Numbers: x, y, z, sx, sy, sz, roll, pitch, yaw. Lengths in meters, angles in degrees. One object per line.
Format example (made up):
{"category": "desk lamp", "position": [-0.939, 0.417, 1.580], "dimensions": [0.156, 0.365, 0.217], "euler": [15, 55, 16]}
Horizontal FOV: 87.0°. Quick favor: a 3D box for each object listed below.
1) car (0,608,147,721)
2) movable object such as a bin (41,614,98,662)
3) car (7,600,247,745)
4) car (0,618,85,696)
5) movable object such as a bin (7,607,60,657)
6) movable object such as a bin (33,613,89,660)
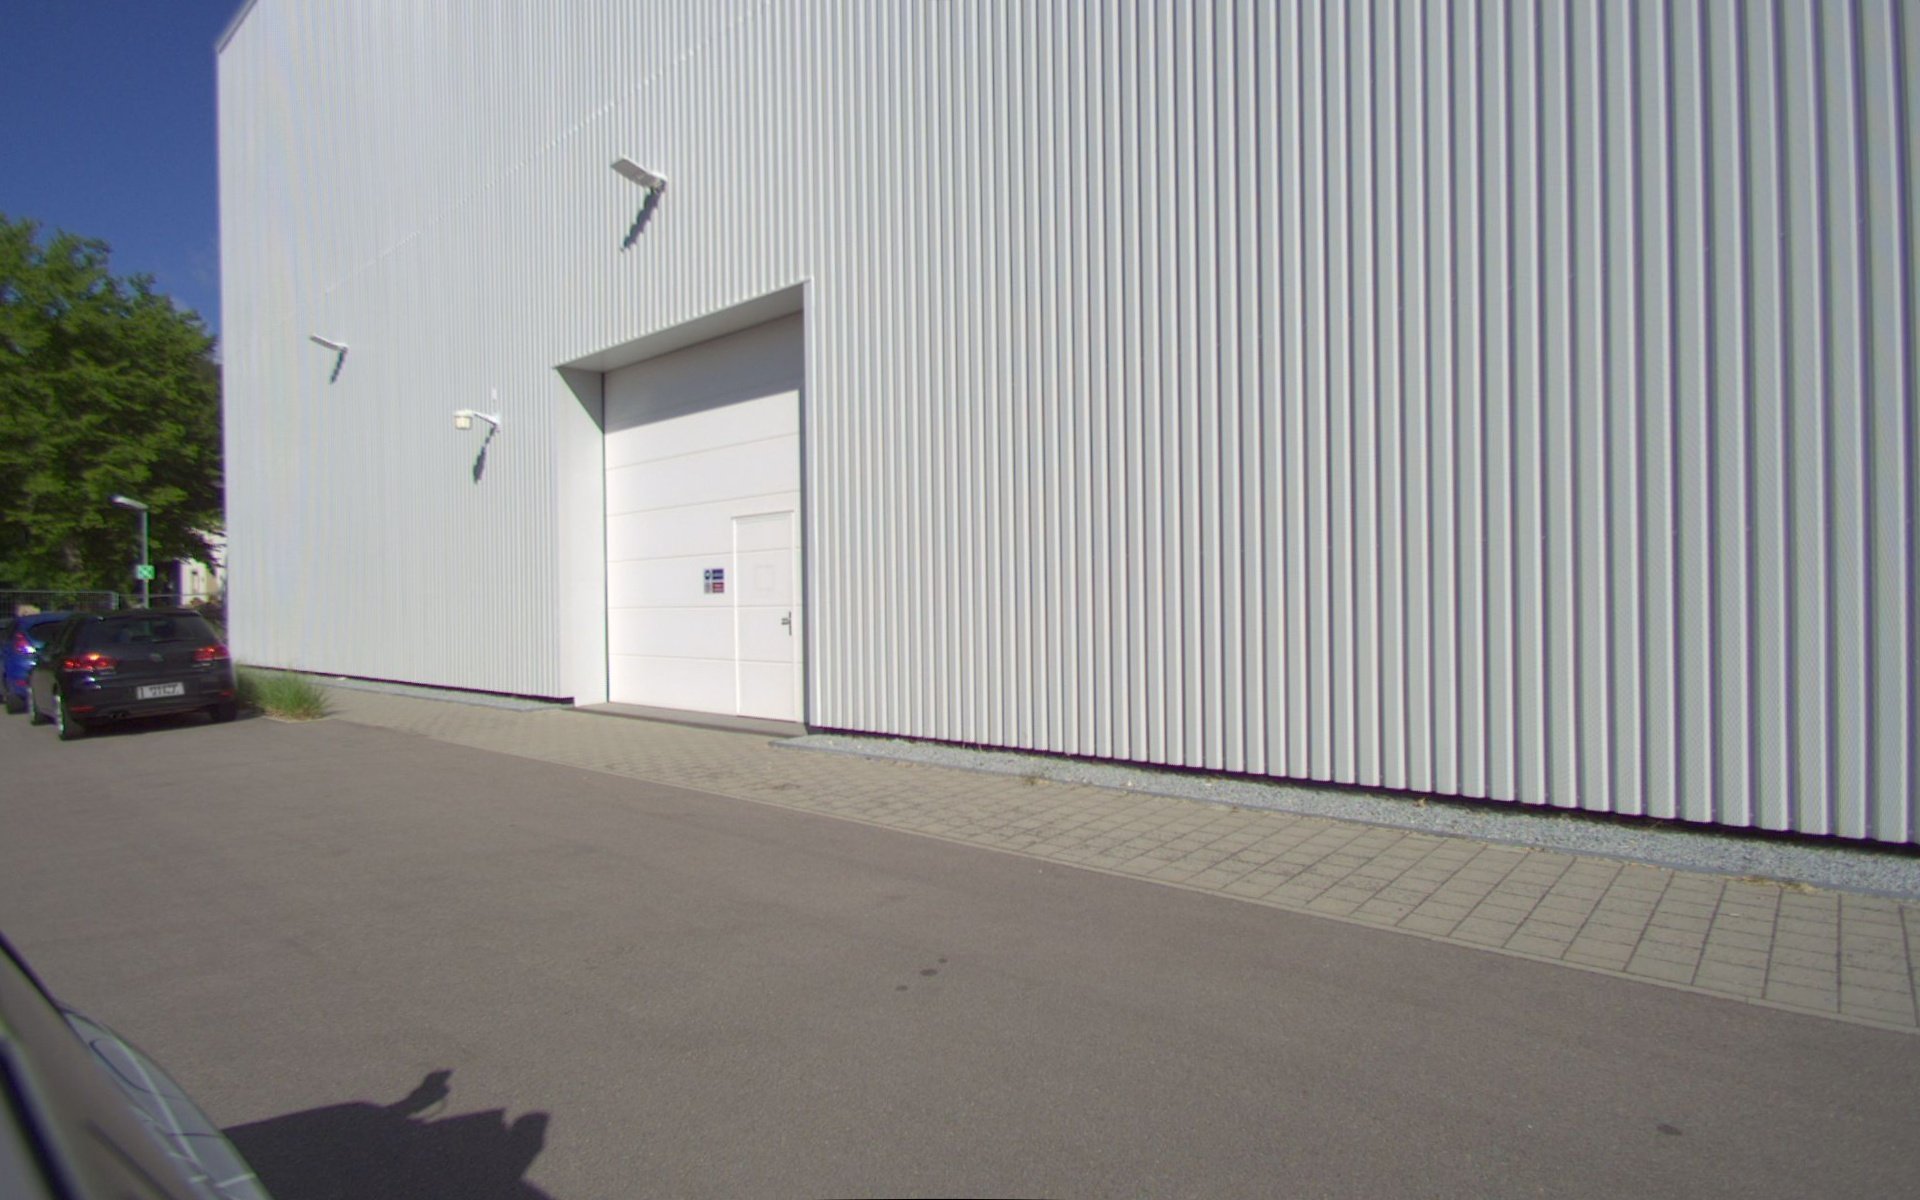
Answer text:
{"category": "car", "position": [-14.631, 0.946, 16.300], "dimensions": [4.092, 1.511, 1.614], "euler": [-1, 2, 40]}
{"category": "movable object such as a bin", "position": [-28.445, 1.200, 32.328], "dimensions": [1.228, 1.443, 1.080], "euler": [0, 2, 36]}
{"category": "car", "position": [-10.900, 0.825, 13.135], "dimensions": [4.292, 1.511, 1.736], "euler": [-1, 1, 42]}
{"category": "car", "position": [-18.739, 1.084, 19.870], "dimensions": [4.051, 1.371, 1.756], "euler": [-1, 0, 41]}
{"category": "movable object such as a bin", "position": [-31.201, 1.069, 34.077], "dimensions": [1.228, 1.609, 1.080], "euler": [1, 1, 36]}
{"category": "movable object such as a bin", "position": [-29.471, 1.184, 33.180], "dimensions": [1.228, 1.450, 1.080], "euler": [0, 2, 36]}
